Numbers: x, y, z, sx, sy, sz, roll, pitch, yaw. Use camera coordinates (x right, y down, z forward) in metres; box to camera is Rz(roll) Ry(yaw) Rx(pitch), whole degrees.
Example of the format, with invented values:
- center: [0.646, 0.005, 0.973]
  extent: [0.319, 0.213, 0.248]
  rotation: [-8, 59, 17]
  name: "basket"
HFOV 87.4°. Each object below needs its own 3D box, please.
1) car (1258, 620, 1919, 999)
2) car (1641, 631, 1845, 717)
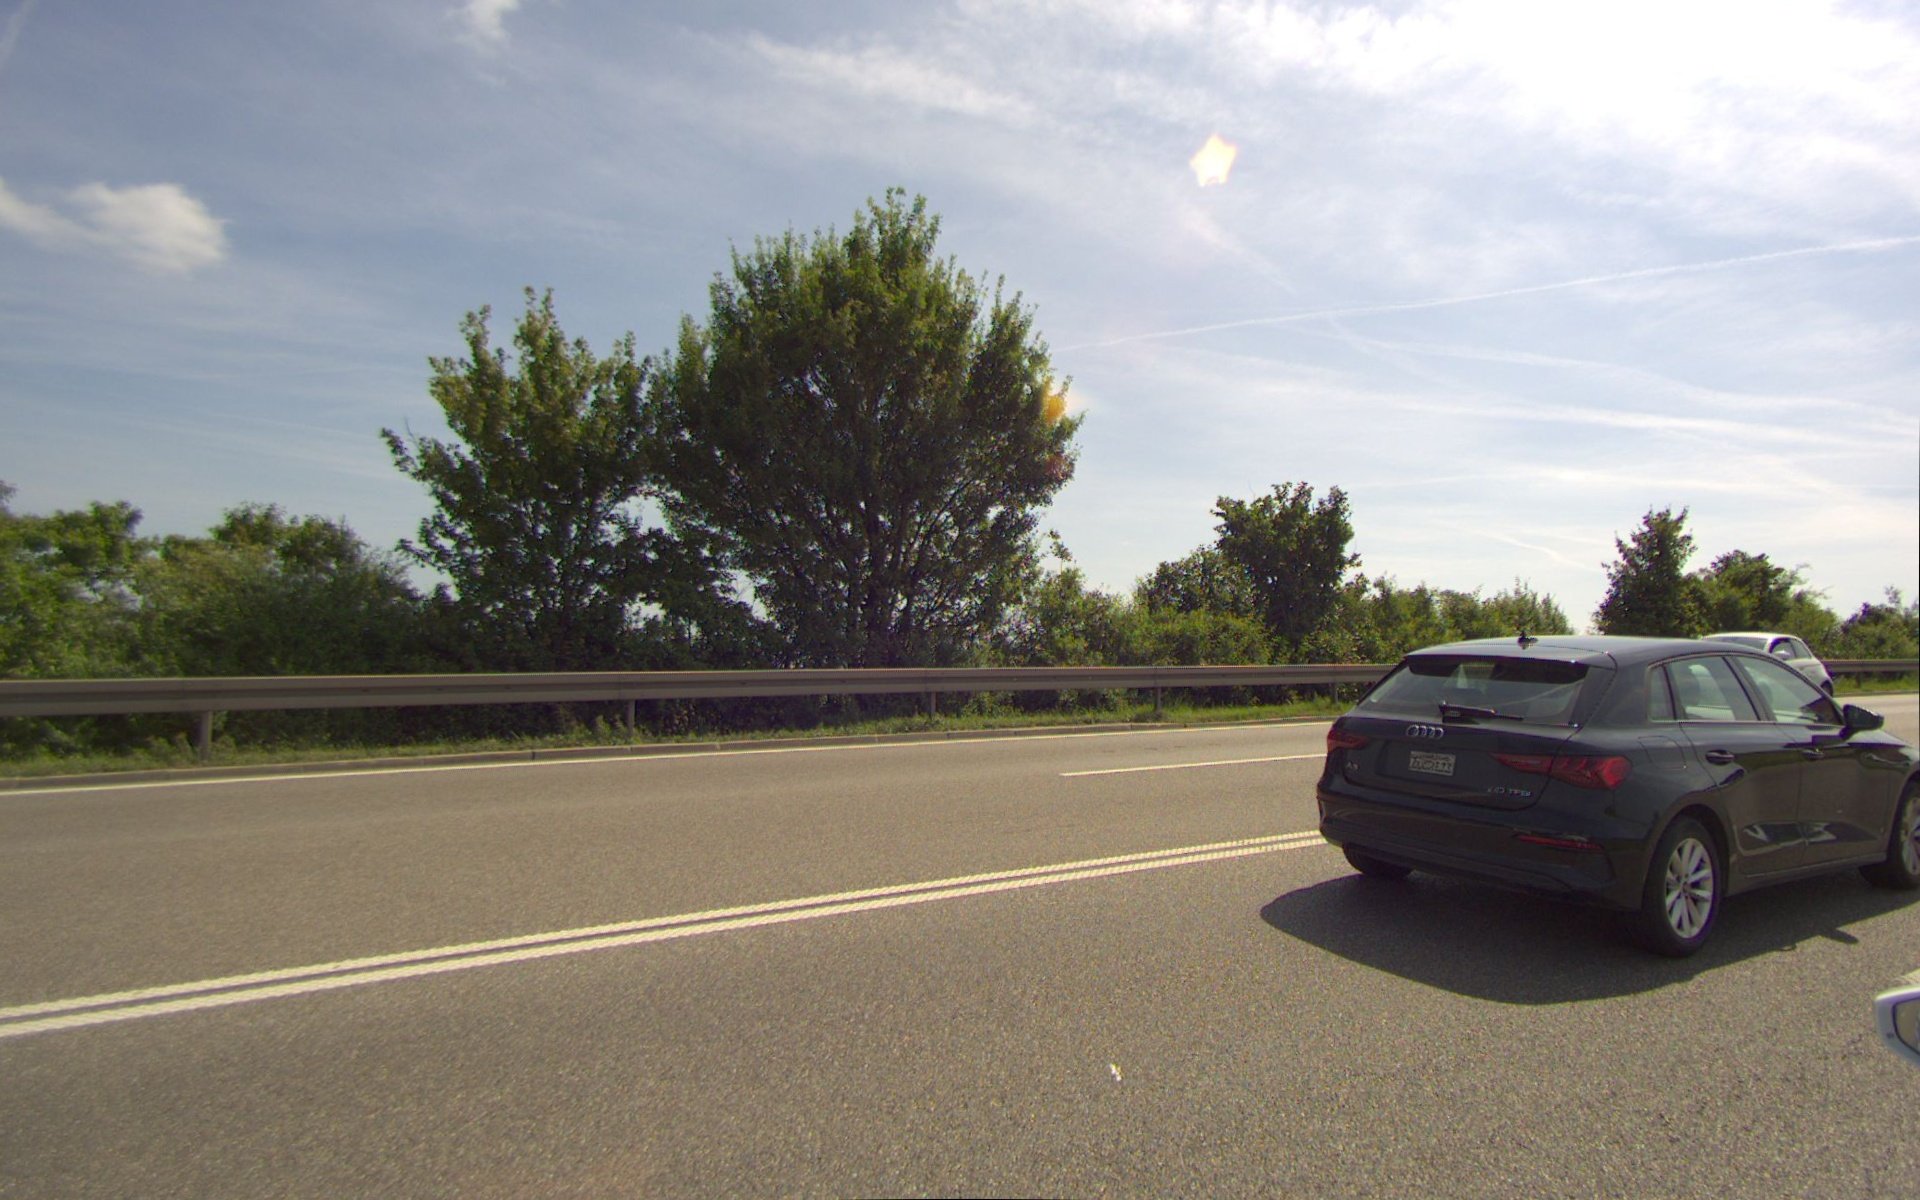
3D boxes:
- center: [4.097, 0.899, 5.940]
  extent: [4.755, 1.492, 1.697]
  rotation: [1, -1, -30]
  name: "car"
- center: [14.725, 1.347, 18.878]
  extent: [3.686, 1.476, 1.651]
  rotation: [2, -2, -27]
  name: "car"
